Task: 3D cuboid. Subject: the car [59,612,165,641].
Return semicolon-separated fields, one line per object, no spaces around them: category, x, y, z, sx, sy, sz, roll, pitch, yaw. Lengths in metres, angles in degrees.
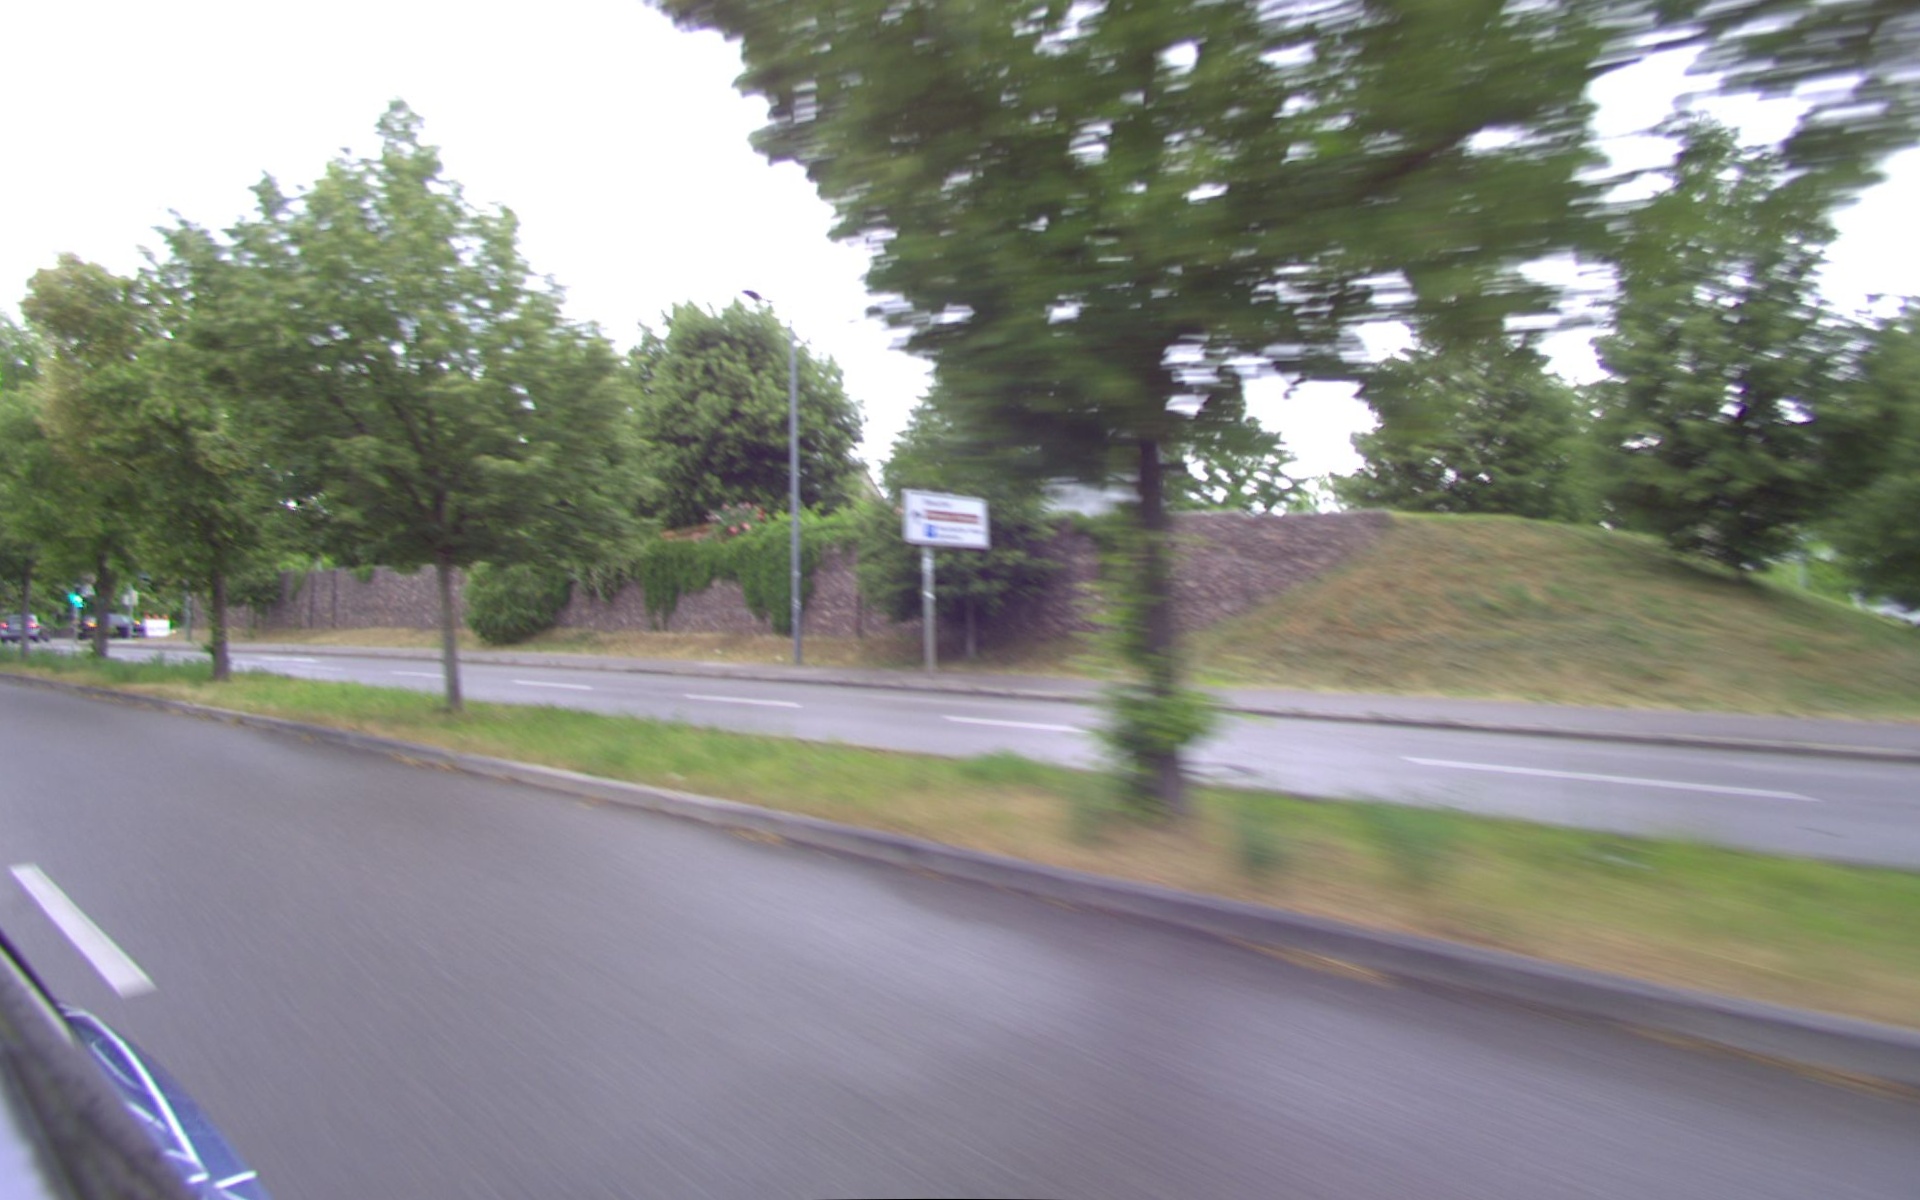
car;-52.274;1.611;62.518;1.875;1.607;4.731;-1;0;22

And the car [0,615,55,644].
car;-51.933;1.624;56.134;1.662;1.551;2.925;-1;-1;-21
